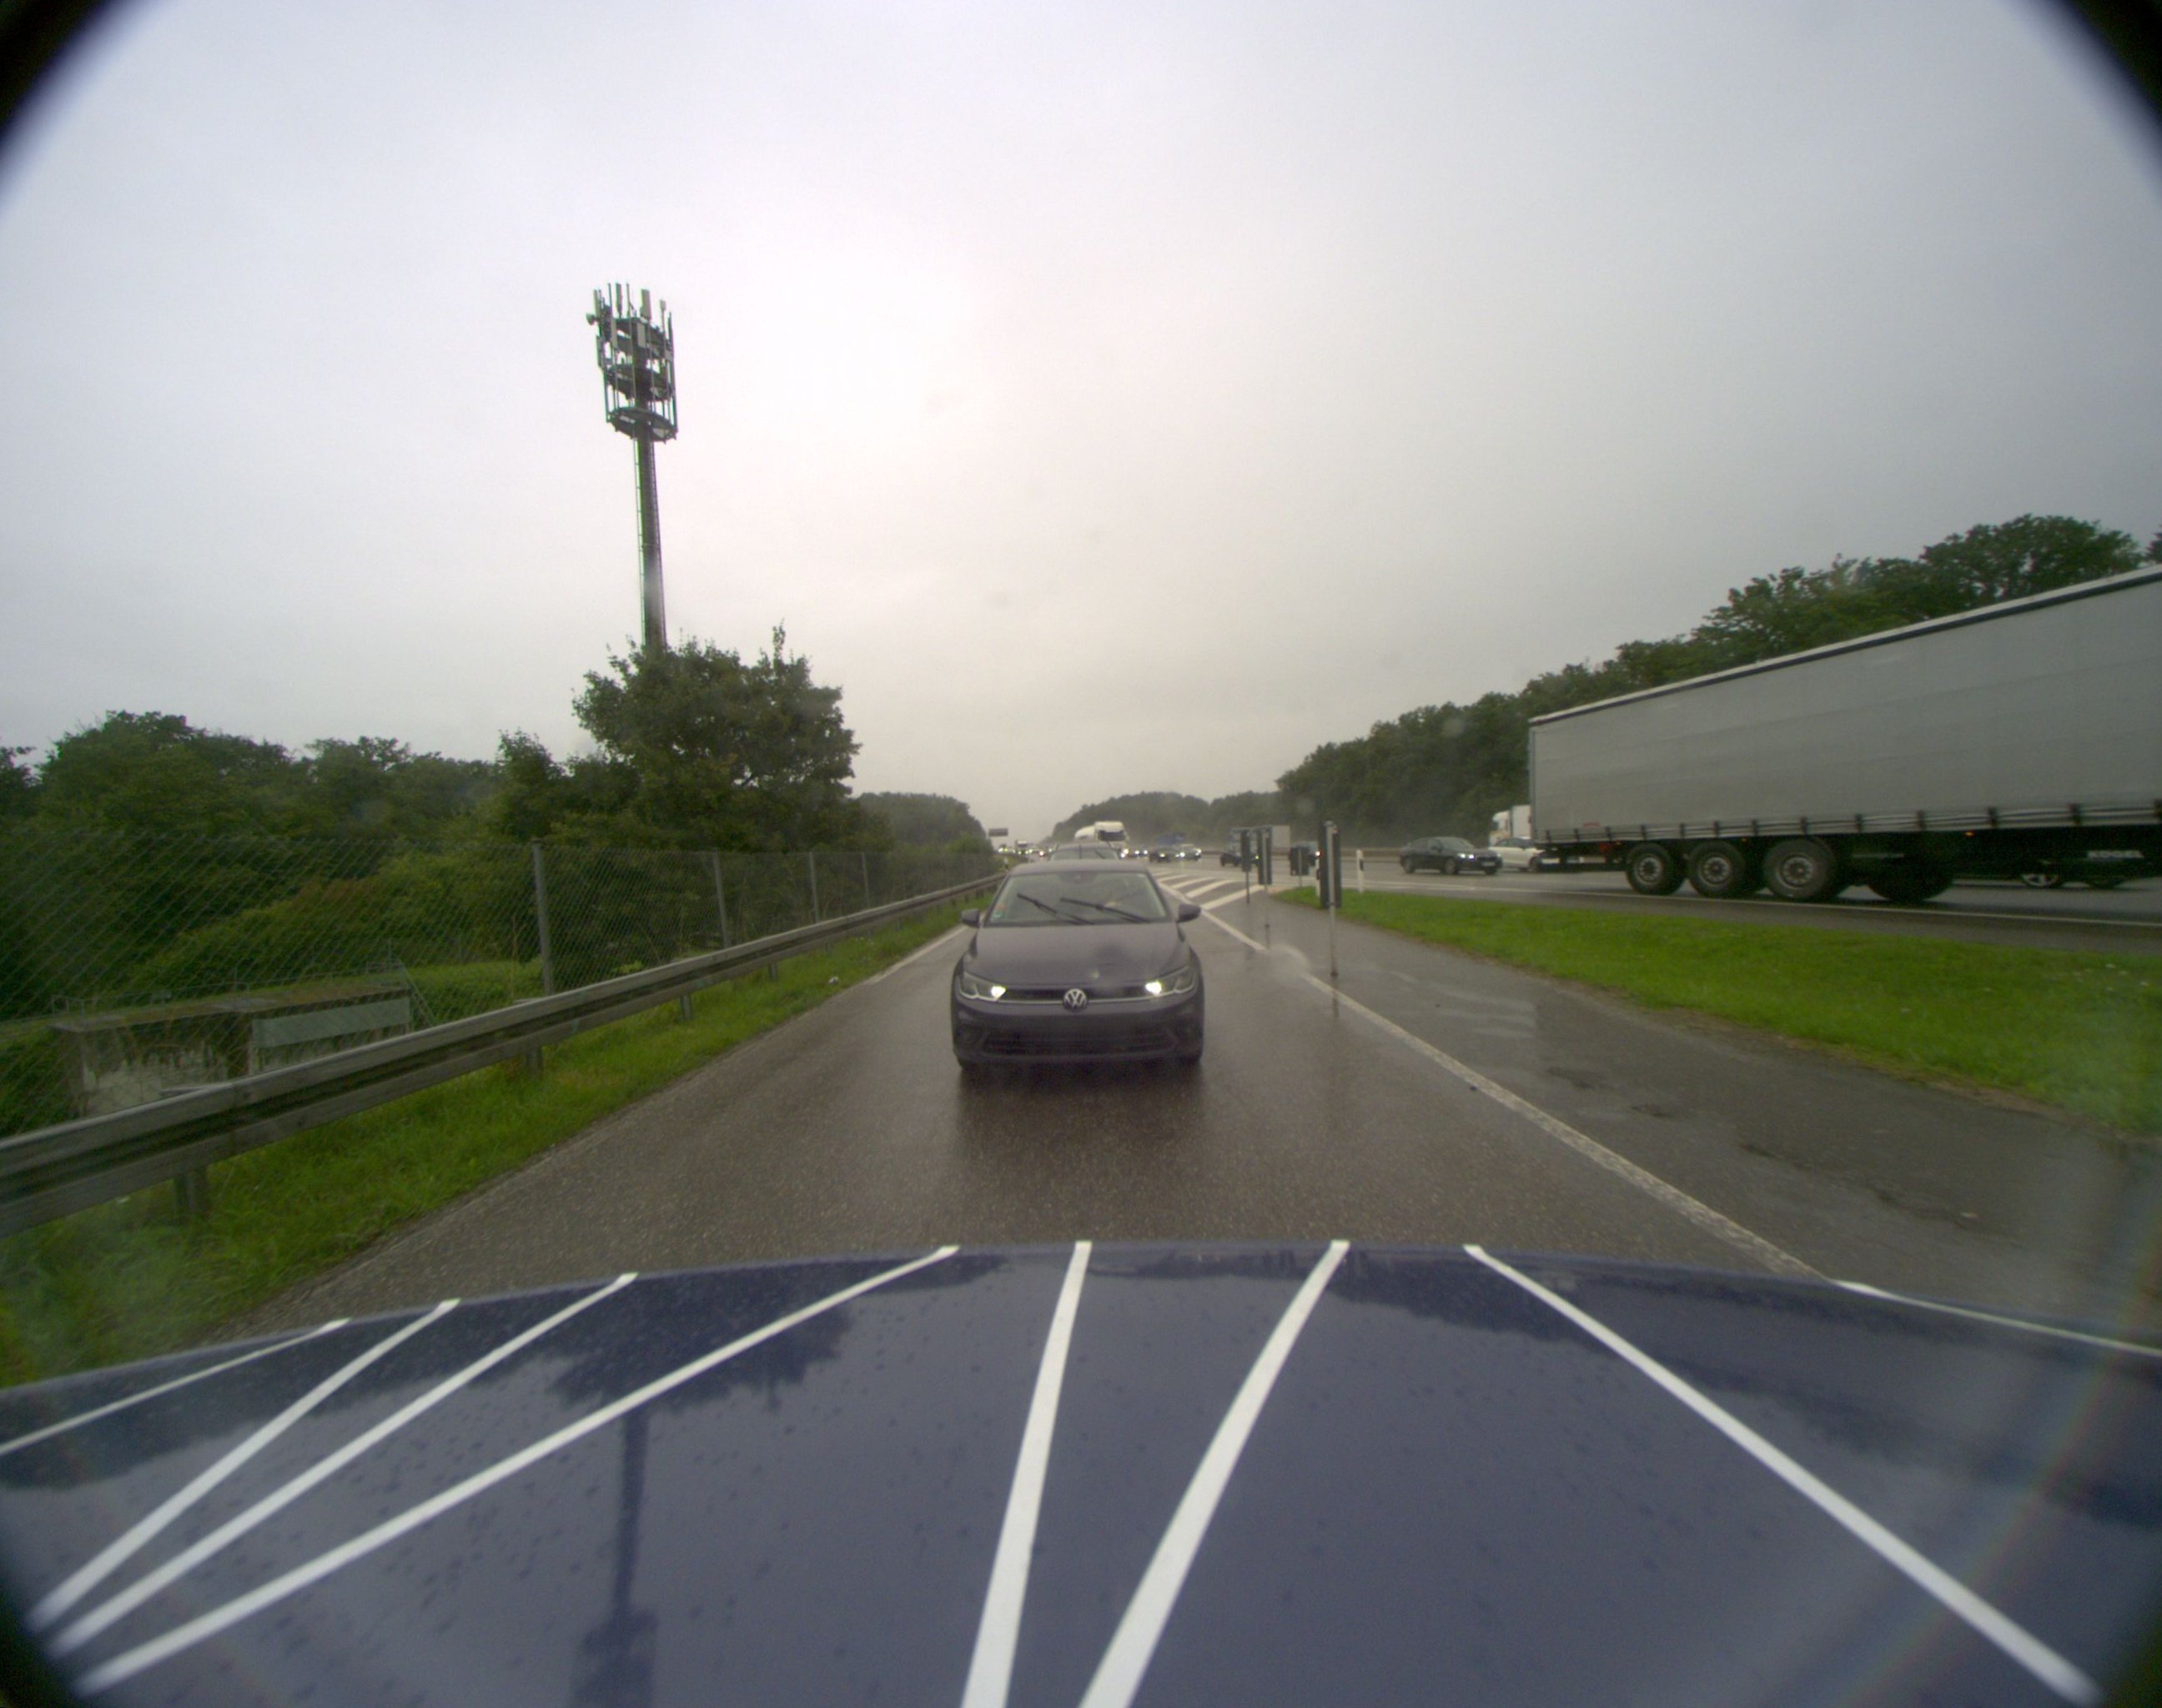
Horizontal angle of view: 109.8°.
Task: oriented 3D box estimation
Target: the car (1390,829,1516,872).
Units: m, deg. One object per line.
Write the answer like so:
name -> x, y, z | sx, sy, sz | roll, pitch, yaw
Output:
car -> 13.973, -0.133, 28.884 | 1.886, 1.472, 4.497 | -2, 1, -12

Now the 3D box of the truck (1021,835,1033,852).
truck -> -14.291, -2.827, 200.931 | 2.597, 4.120, 5.229 | -5, 0, -3

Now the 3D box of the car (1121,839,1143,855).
car -> 6.744, -0.872, 100.646 | 2.000, 2.002, 4.108 | -2, 1, -9

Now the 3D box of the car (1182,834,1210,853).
car -> 13.098, -1.199, 86.959 | 2.000, 2.002, 3.997 | -2, 0, -9

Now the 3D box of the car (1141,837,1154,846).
car -> 15.099, -2.887, 173.034 | 2.000, 2.002, 3.997 | -1, 1, -6

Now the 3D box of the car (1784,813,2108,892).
car -> 19.318, -0.059, 17.365 | 2.000, 1.531, 4.524 | -1, 1, -9

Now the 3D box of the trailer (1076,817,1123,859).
trailer -> 1.769, -1.602, 79.397 | 2.771, 4.003, 11.031 | -1, 1, -10

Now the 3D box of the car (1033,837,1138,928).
car -> 0.130, 0.501, 16.078 | 1.810, 1.532, 4.000 | -6, 1, 1

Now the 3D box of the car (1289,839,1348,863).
car -> 14.758, -0.180, 47.443 | 1.824, 1.406, 4.120 | -1, 0, -10

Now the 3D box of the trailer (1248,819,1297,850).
trailer -> 27.723, -2.844, 110.794 | 3.101, 4.024, 9.156 | -6, 2, -10

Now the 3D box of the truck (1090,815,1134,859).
truck -> 2.885, -1.549, 73.064 | 2.759, 3.985, 6.502 | -2, 0, -10

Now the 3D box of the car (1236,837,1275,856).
car -> 15.373, -0.690, 67.346 | 1.824, 1.659, 4.399 | 0, 1, -10

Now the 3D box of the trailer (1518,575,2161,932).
trailer -> 12.968, -1.139, 11.272 | 2.905, 3.959, 14.104 | -1, 0, -10

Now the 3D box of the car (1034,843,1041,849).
car -> -12.214, -2.197, 213.439 | 1.775, 1.668, 3.997 | -4, 1, -7

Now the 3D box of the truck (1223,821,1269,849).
truck -> 25.990, -2.982, 120.516 | 3.071, 3.958, 10.547 | -6, 2, -10

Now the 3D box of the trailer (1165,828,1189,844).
trailer -> 21.048, -3.892, 166.747 | 2.740, 3.397, 11.392 | -3, 1, -5

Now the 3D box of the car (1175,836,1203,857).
car -> 10.678, -0.709, 75.442 | 1.862, 2.002, 3.997 | -2, 1, -6

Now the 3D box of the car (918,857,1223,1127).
car -> -0.076, 0.821, 6.609 | 1.670, 1.394, 4.261 | -6, 1, 0

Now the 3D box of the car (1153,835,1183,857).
car -> 7.845, -0.687, 68.875 | 1.766, 1.893, 3.998 | -3, 0, -6

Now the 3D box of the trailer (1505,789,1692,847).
trailer -> 35.843, -2.297, 53.777 | 2.657, 3.477, 13.475 | -2, 1, -7

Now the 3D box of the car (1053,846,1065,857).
car -> -4.268, -0.434, 146.526 | 1.927, 1.852, 3.997 | -7, 2, -5

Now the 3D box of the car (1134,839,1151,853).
car -> 9.134, -1.205, 113.042 | 1.999, 2.002, 3.998 | -2, 1, -3

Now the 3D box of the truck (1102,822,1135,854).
truck -> 4.520, -1.944, 93.029 | 2.698, 3.636, 5.321 | -5, 1, -9

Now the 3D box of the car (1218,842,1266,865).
car -> 10.369, -0.023, 49.206 | 1.823, 1.364, 3.997 | -1, 0, -6

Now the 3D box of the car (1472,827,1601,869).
car -> 17.768, -0.239, 29.929 | 1.886, 1.472, 4.498 | -1, 1, -9

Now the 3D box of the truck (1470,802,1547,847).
truck -> 34.764, -2.356, 61.996 | 2.655, 3.432, 5.597 | -2, 1, -7
